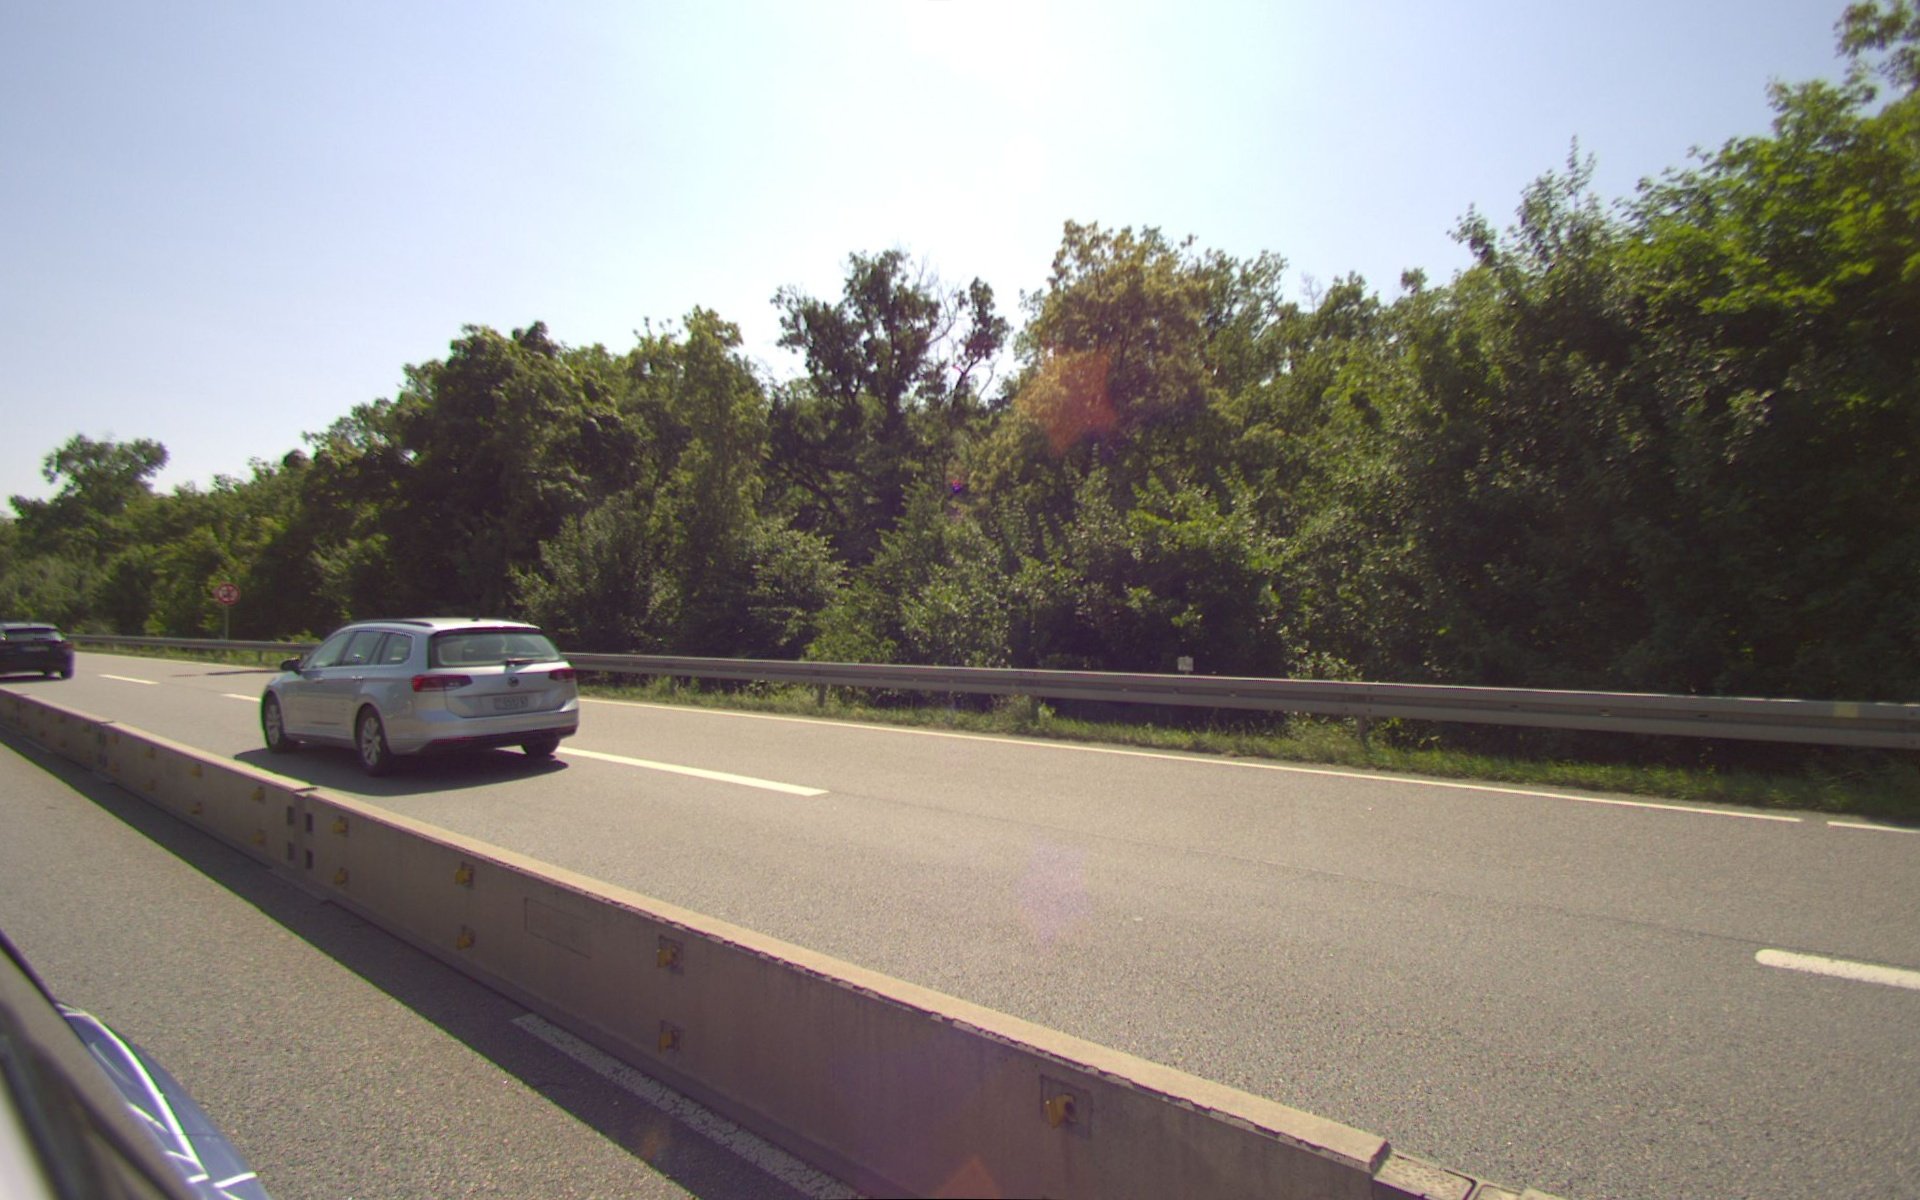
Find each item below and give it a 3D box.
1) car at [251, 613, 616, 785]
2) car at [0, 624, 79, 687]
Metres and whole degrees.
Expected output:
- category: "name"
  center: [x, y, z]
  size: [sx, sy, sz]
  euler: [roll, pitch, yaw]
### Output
- category: "car"
  center: [-5.670, 0.889, 10.664]
  size: [4.350, 1.432, 1.929]
  euler: [-2, -1, 40]
- category: "car"
  center: [-24.612, 1.416, 26.521]
  size: [4.255, 1.493, 1.803]
  euler: [-2, -1, 42]
